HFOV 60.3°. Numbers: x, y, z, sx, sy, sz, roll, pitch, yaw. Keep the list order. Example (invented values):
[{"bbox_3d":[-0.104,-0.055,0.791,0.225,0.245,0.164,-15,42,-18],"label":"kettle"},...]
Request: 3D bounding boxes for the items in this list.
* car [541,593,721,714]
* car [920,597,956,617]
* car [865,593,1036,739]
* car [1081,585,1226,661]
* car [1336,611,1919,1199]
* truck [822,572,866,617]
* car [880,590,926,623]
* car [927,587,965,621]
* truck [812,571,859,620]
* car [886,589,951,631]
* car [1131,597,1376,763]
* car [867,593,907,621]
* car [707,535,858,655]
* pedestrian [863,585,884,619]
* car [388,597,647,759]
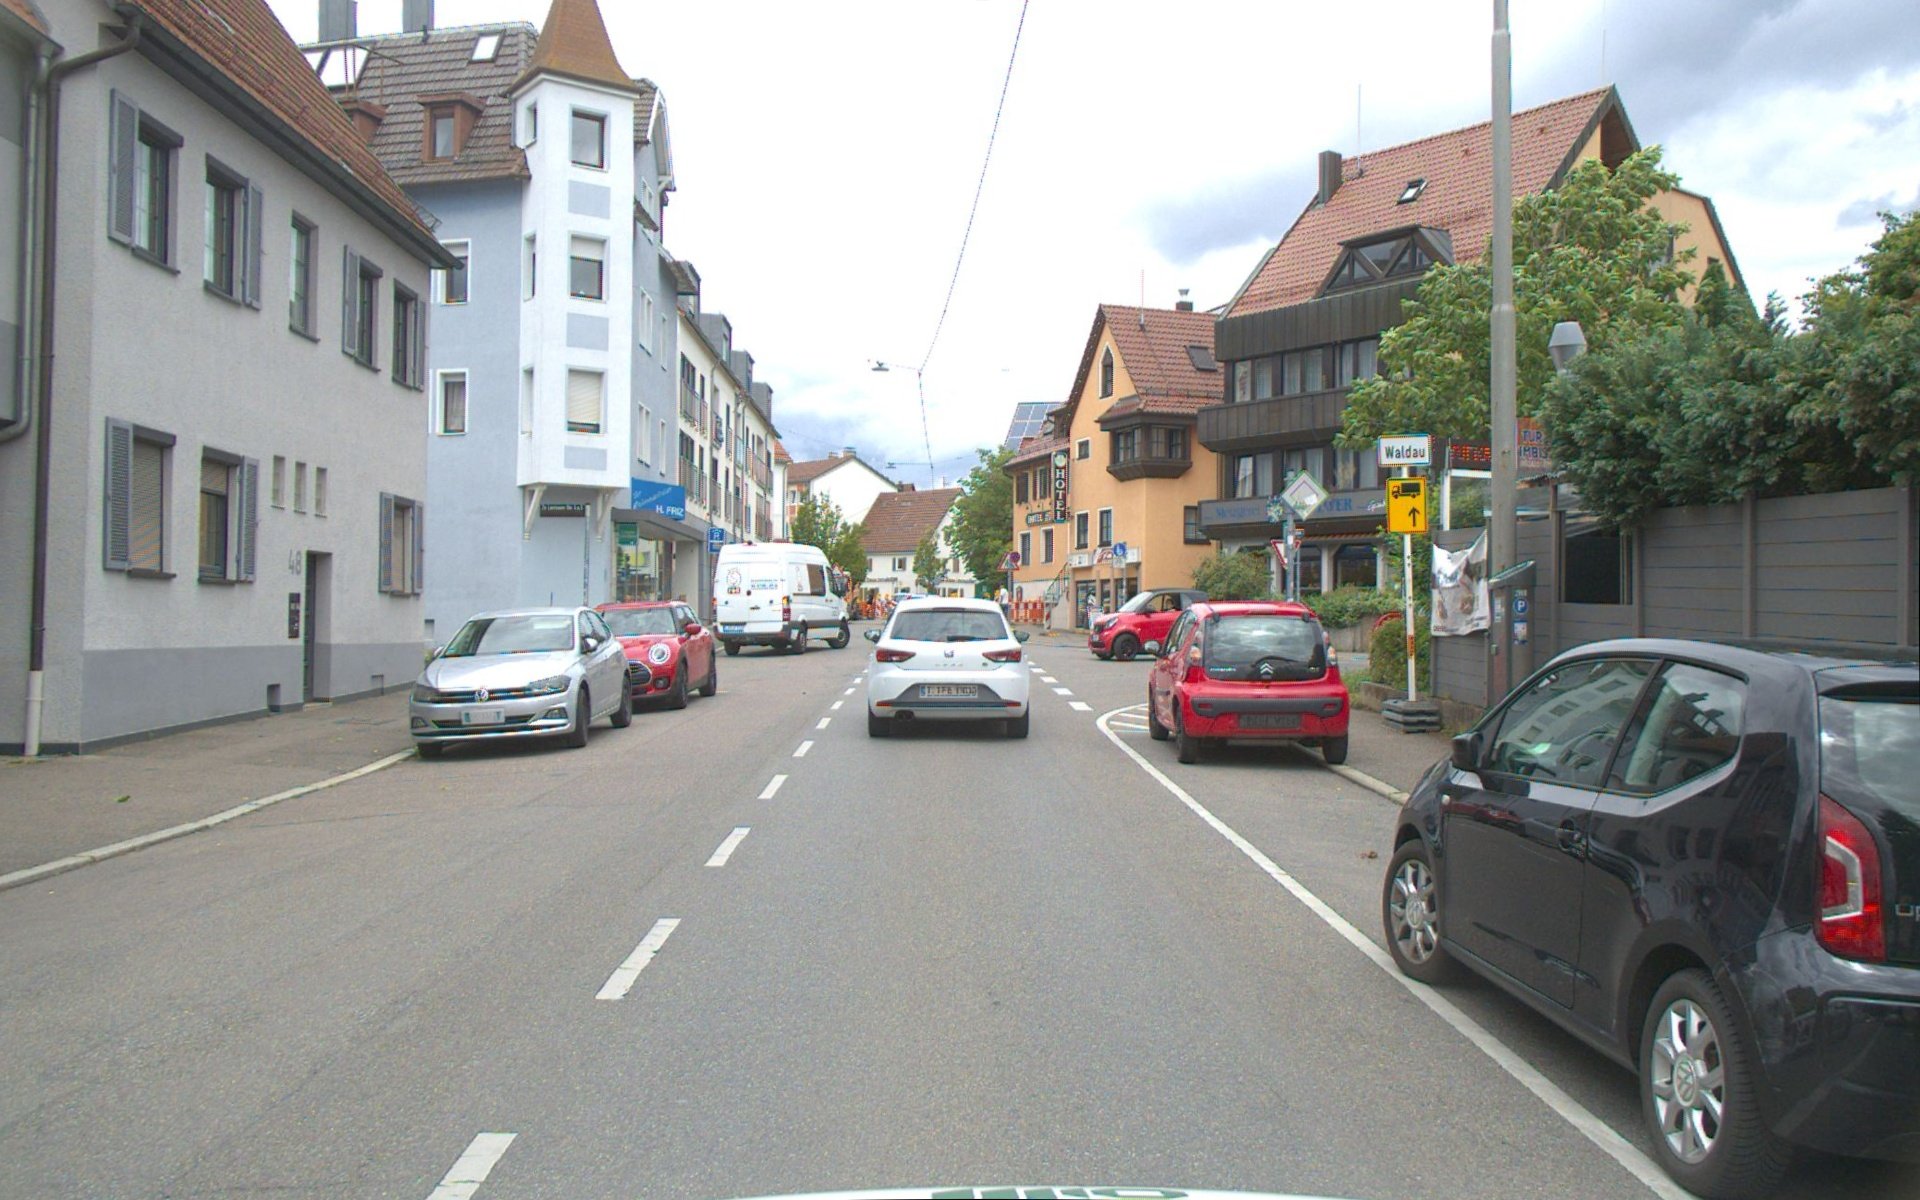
[{"bbox_3d":[-4.581,0.692,23.577,1.763,1.505,4.050,-3,0,-1],"label":"car"},{"bbox_3d":[-1.655,0.494,124.717,1.721,1.477,4.003,0,0,15],"label":"car"},{"bbox_3d":[-0.113,0.665,18.656,1.722,1.477,3.999,0,0,-1],"label":"car"},{"bbox_3d":[4.246,0.502,36.454,2.759,1.538,1.704,1,1,-12],"label":"car"},{"bbox_3d":[2.756,0.793,5.876,1.723,1.477,3.997,0,0,-4],"label":"car"},{"bbox_3d":[-6.631,-0.340,95.198,2.108,2.502,5.394,1,0,0],"label":"truck"},{"bbox_3d":[-2.623,0.284,75.240,1.725,1.477,3.993,0,0,-7],"label":"car"},{"bbox_3d":[-0.655,0.172,76.860,1.726,1.524,3.788,1,0,-1],"label":"car"},{"bbox_3d":[-6.702,-0.251,89.284,2.108,2.502,5.394,1,0,0],"label":"truck"},{"bbox_3d":[-1.542,0.353,60.013,1.727,1.477,3.989,0,0,-11],"label":"car"},{"bbox_3d":[2.837,0.716,16.803,1.723,1.477,3.999,0,0,-1],"label":"car"},{"bbox_3d":[-4.636,0.404,105.590,1.756,1.731,4.003,1,0,10],"label":"car"},{"bbox_3d":[-4.329,-0.134,41.316,2.106,2.734,5.549,1,0,12],"label":"car"},{"bbox_3d":[-5.216,0.132,99.685,1.203,2.049,1.175,1,0,0],"label":"pedestrian"},{"bbox_3d":[-4.701,0.758,18.176,1.763,1.505,4.050,-3,0,-1],"label":"car"}]
